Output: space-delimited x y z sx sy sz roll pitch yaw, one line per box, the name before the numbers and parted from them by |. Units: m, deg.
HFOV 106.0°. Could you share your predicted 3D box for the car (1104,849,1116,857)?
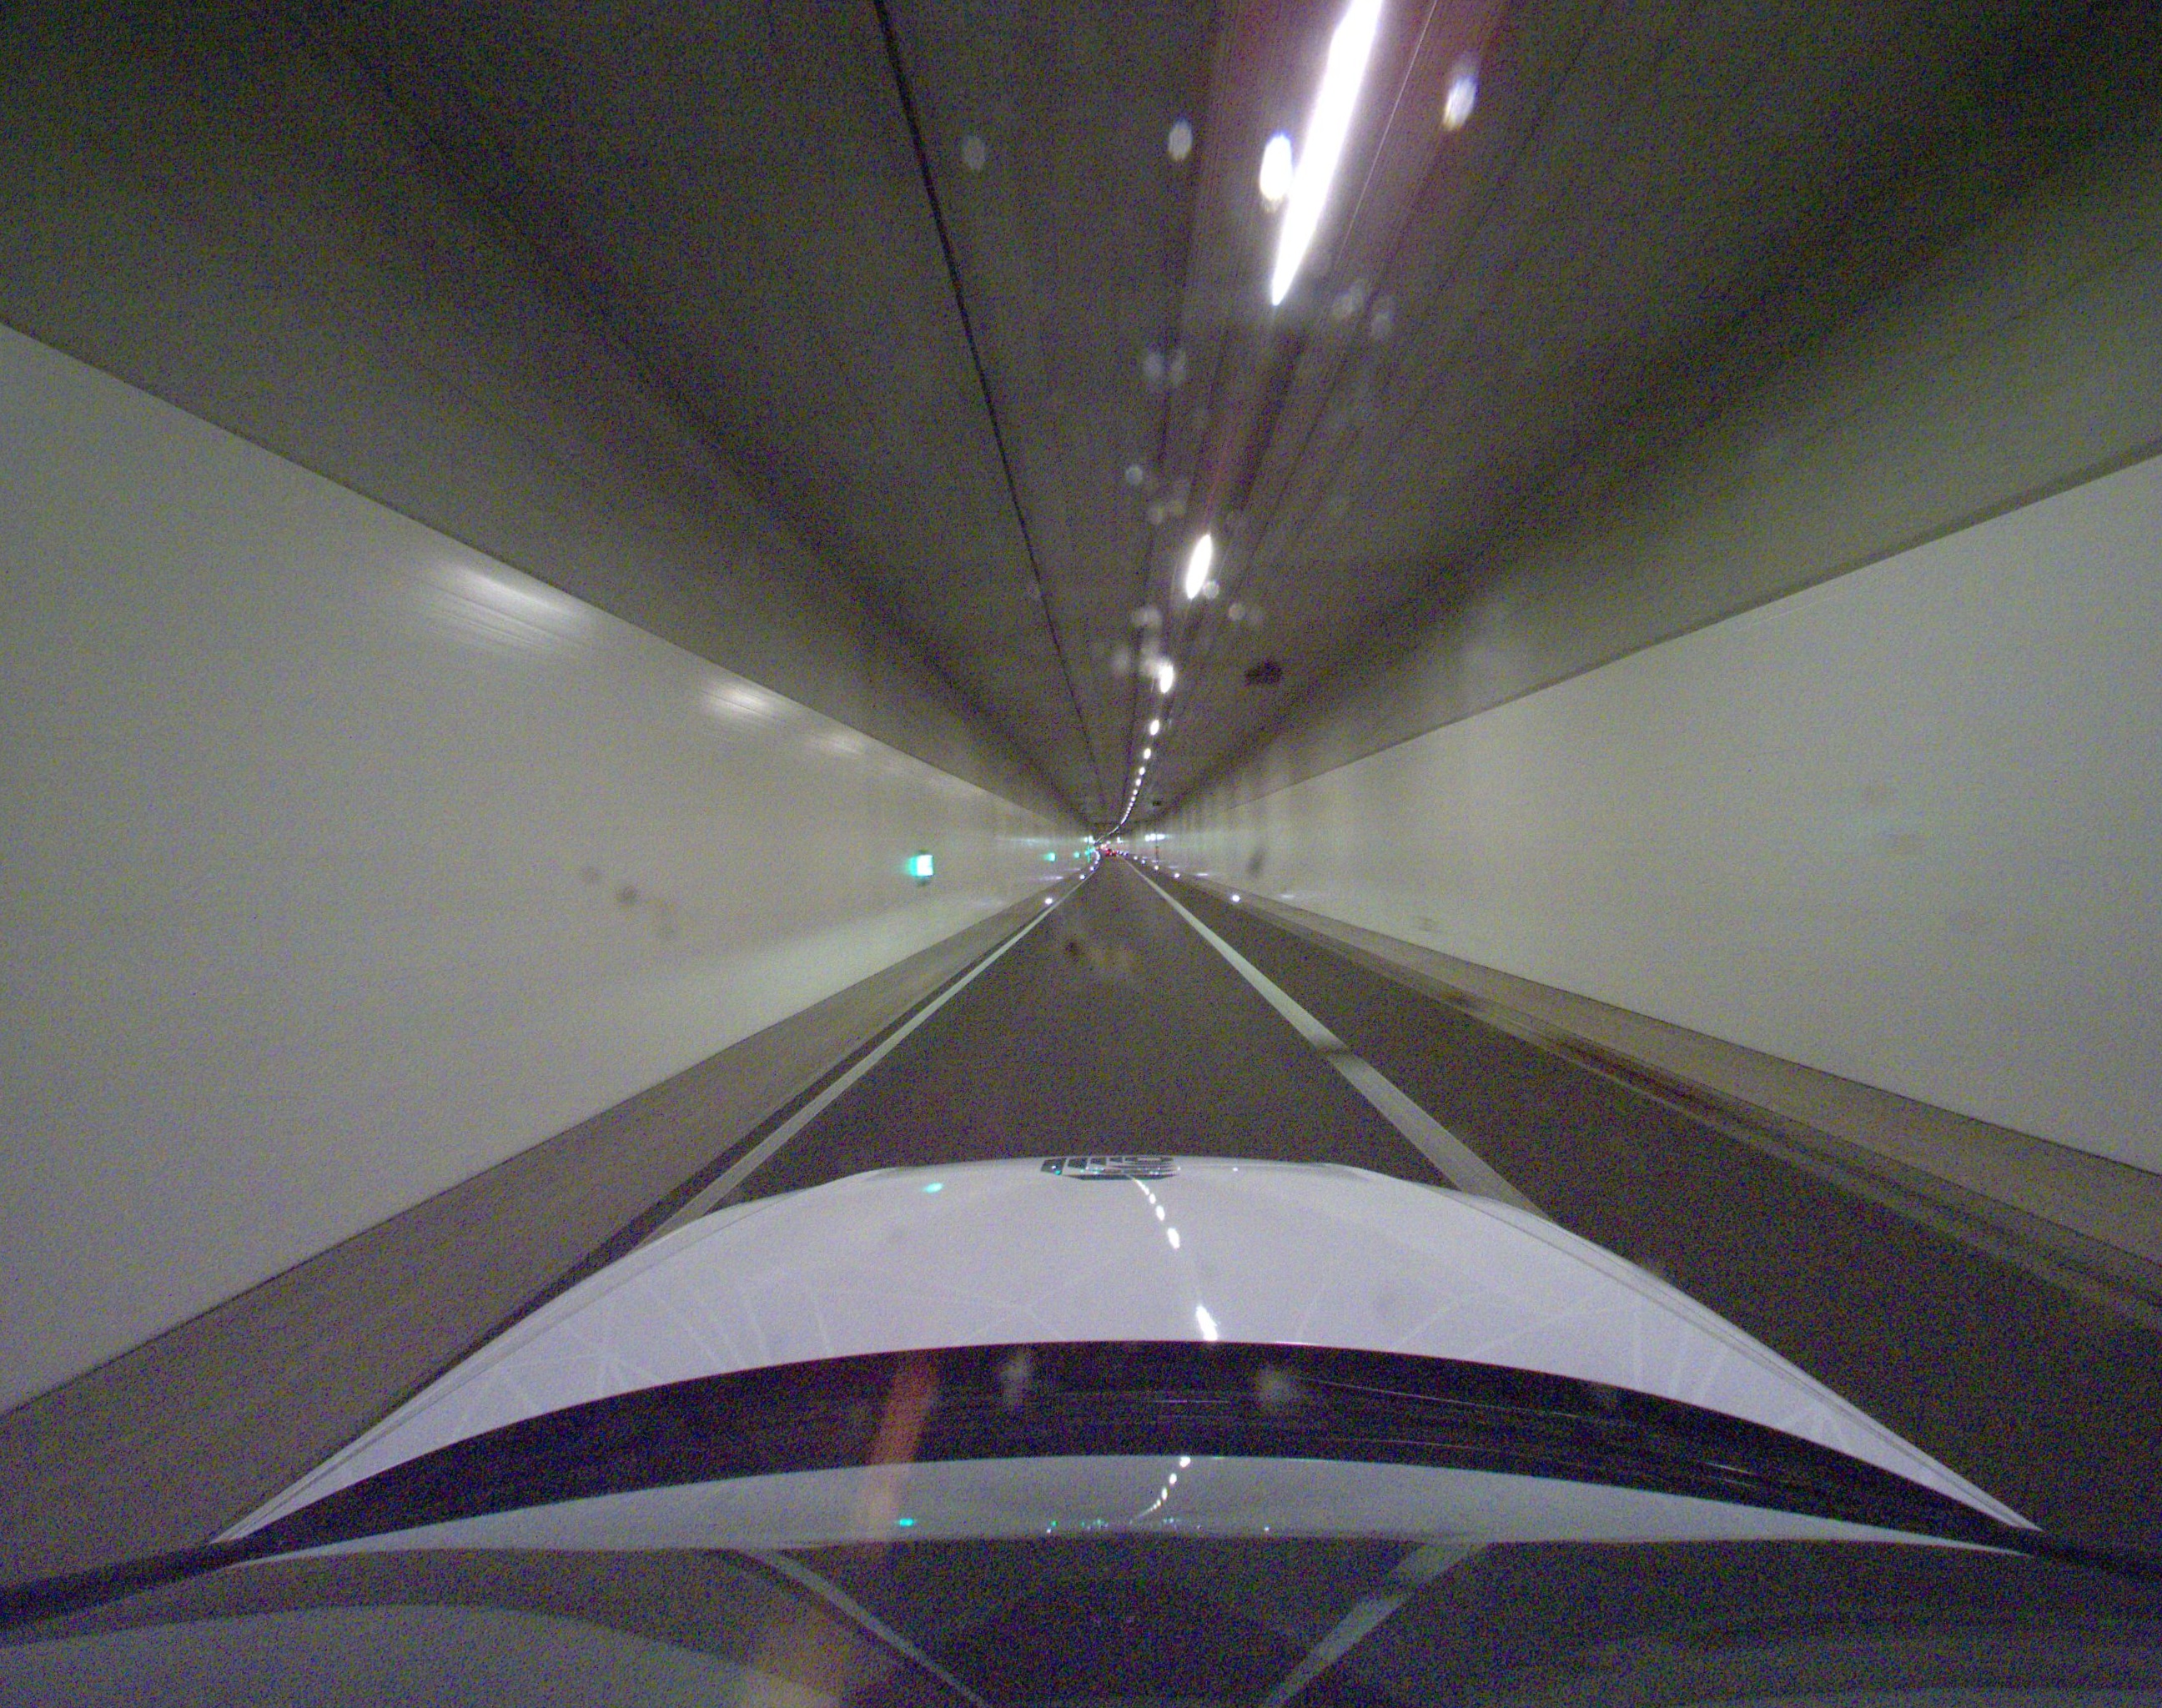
car | 5.189 -0.185 145.110 1.987 1.420 4.000 3 0 0
